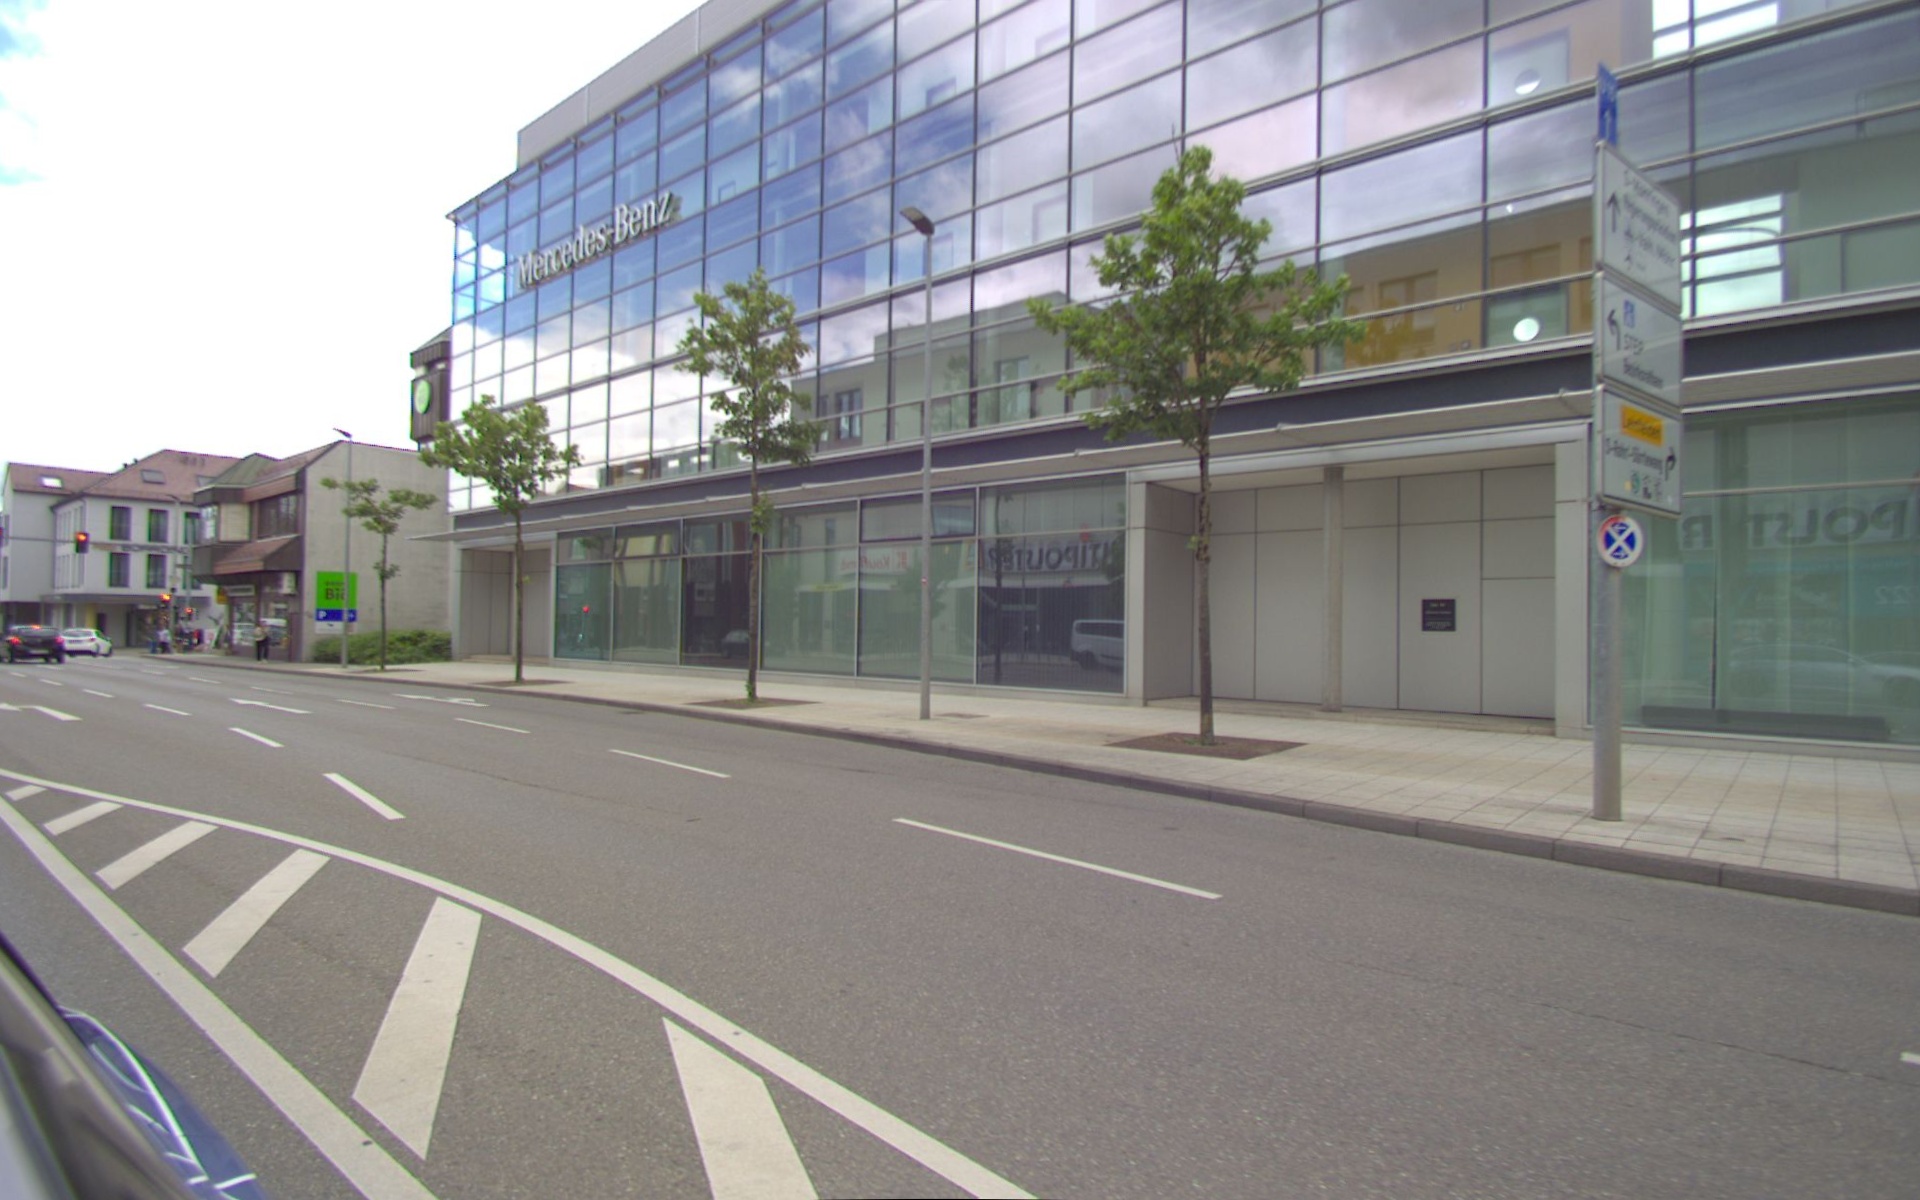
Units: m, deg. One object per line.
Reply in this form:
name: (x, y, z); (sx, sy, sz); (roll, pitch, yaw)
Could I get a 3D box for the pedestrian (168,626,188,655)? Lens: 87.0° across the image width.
pedestrian: (-41.777, 2.184, 54.086); (0.577, 1.527, 0.552); (0, -3, 9)

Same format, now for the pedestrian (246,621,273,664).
pedestrian: (-27.272, 1.648, 39.401); (0.693, 1.636, 0.693); (-2, -3, 41)

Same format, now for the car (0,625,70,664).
car: (-36.743, 1.732, 39.874); (3.994, 1.478, 1.780); (-1, -3, 38)

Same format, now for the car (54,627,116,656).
car: (-45.815, 2.171, 52.950); (3.999, 1.478, 1.912); (-2, -3, 42)

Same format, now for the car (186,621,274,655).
car: (-42.723, 2.248, 59.338); (3.932, 1.909, 1.944); (2, -3, -31)
